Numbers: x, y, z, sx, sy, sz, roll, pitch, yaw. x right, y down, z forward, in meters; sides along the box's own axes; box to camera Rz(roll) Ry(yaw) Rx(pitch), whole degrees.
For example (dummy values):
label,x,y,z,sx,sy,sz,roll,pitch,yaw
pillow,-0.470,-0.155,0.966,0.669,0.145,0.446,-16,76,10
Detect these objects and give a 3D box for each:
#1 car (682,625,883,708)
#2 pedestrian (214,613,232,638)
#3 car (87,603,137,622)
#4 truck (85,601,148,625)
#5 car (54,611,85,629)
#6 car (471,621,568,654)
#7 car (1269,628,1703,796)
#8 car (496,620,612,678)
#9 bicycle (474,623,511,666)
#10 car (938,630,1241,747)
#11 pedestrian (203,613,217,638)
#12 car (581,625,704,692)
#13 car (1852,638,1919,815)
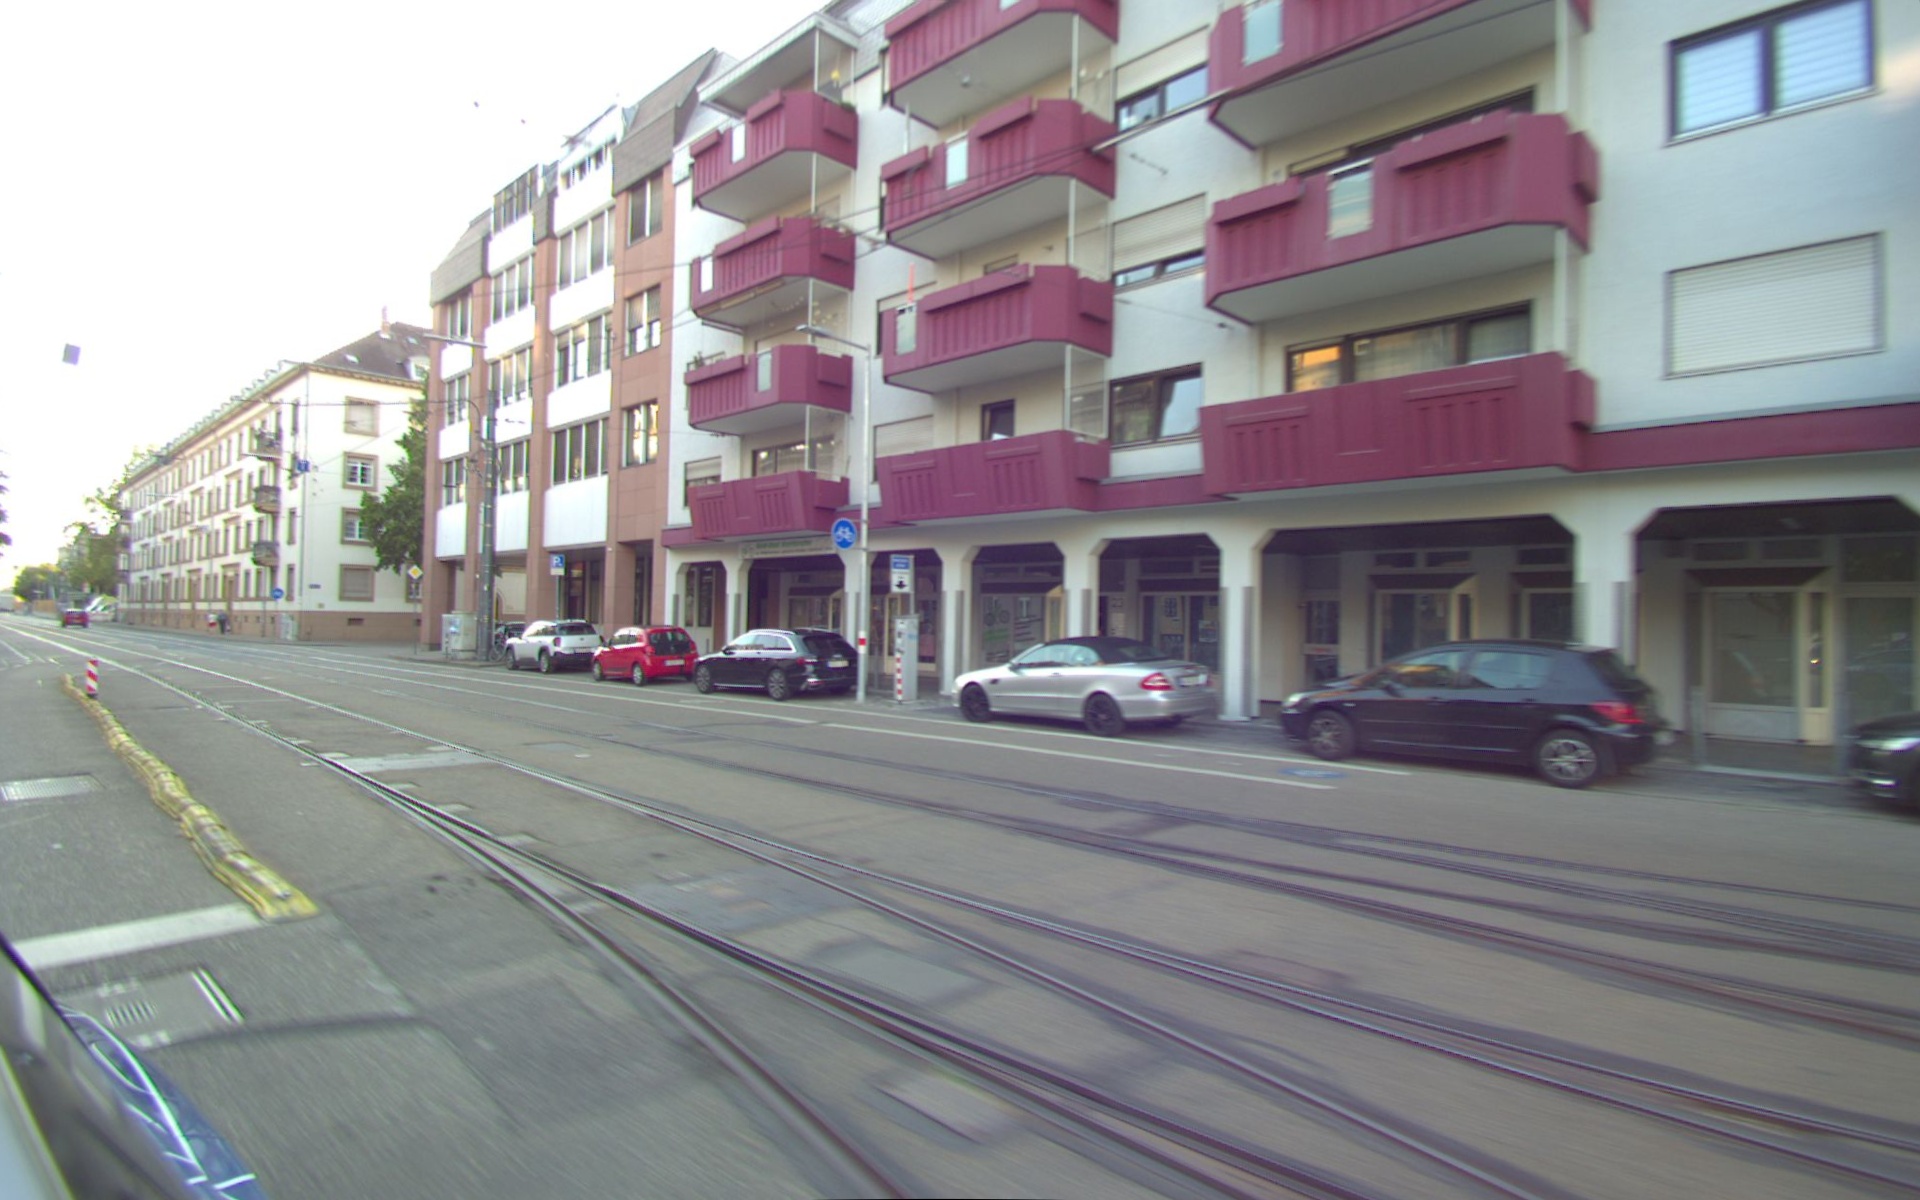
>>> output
label,x,y,z,sx,sy,sz,roll,pitch,yaw
car,-3.908,1.353,21.865,4.482,1.490,1.972,0,0,43
pedestrian,-50.050,1.732,68.724,0.981,1.714,0.787,-1,-2,42
car,-122.272,1.788,145.925,2.228,2.617,5.165,-1,-2,40
truck,-125.599,2.001,150.752,2.565,3.454,6.984,-1,-2,41
car,-77.696,1.738,88.267,3.754,1.570,1.542,-1,-3,42
car,-21.973,1.869,50.602,1.921,1.516,3.950,2,-1,37
car,5.992,1.136,11.883,1.767,1.520,4.202,0,0,-45
car,-12.145,1.396,30.147,1.697,1.567,4.206,0,-1,-45
bicycle,-15.647,1.459,33.857,0.600,1.388,2.263,2,-2,-38
car,1.845,1.239,15.734,1.671,1.424,4.681,0,0,-43
pedestrian,-50.425,1.710,68.023,0.811,1.622,0.584,-1,-2,42
car,-8.156,1.444,25.865,1.592,1.490,3.482,-1,0,-44
car,10.156,1.077,7.603,1.830,1.468,5.089,2,-2,-45
